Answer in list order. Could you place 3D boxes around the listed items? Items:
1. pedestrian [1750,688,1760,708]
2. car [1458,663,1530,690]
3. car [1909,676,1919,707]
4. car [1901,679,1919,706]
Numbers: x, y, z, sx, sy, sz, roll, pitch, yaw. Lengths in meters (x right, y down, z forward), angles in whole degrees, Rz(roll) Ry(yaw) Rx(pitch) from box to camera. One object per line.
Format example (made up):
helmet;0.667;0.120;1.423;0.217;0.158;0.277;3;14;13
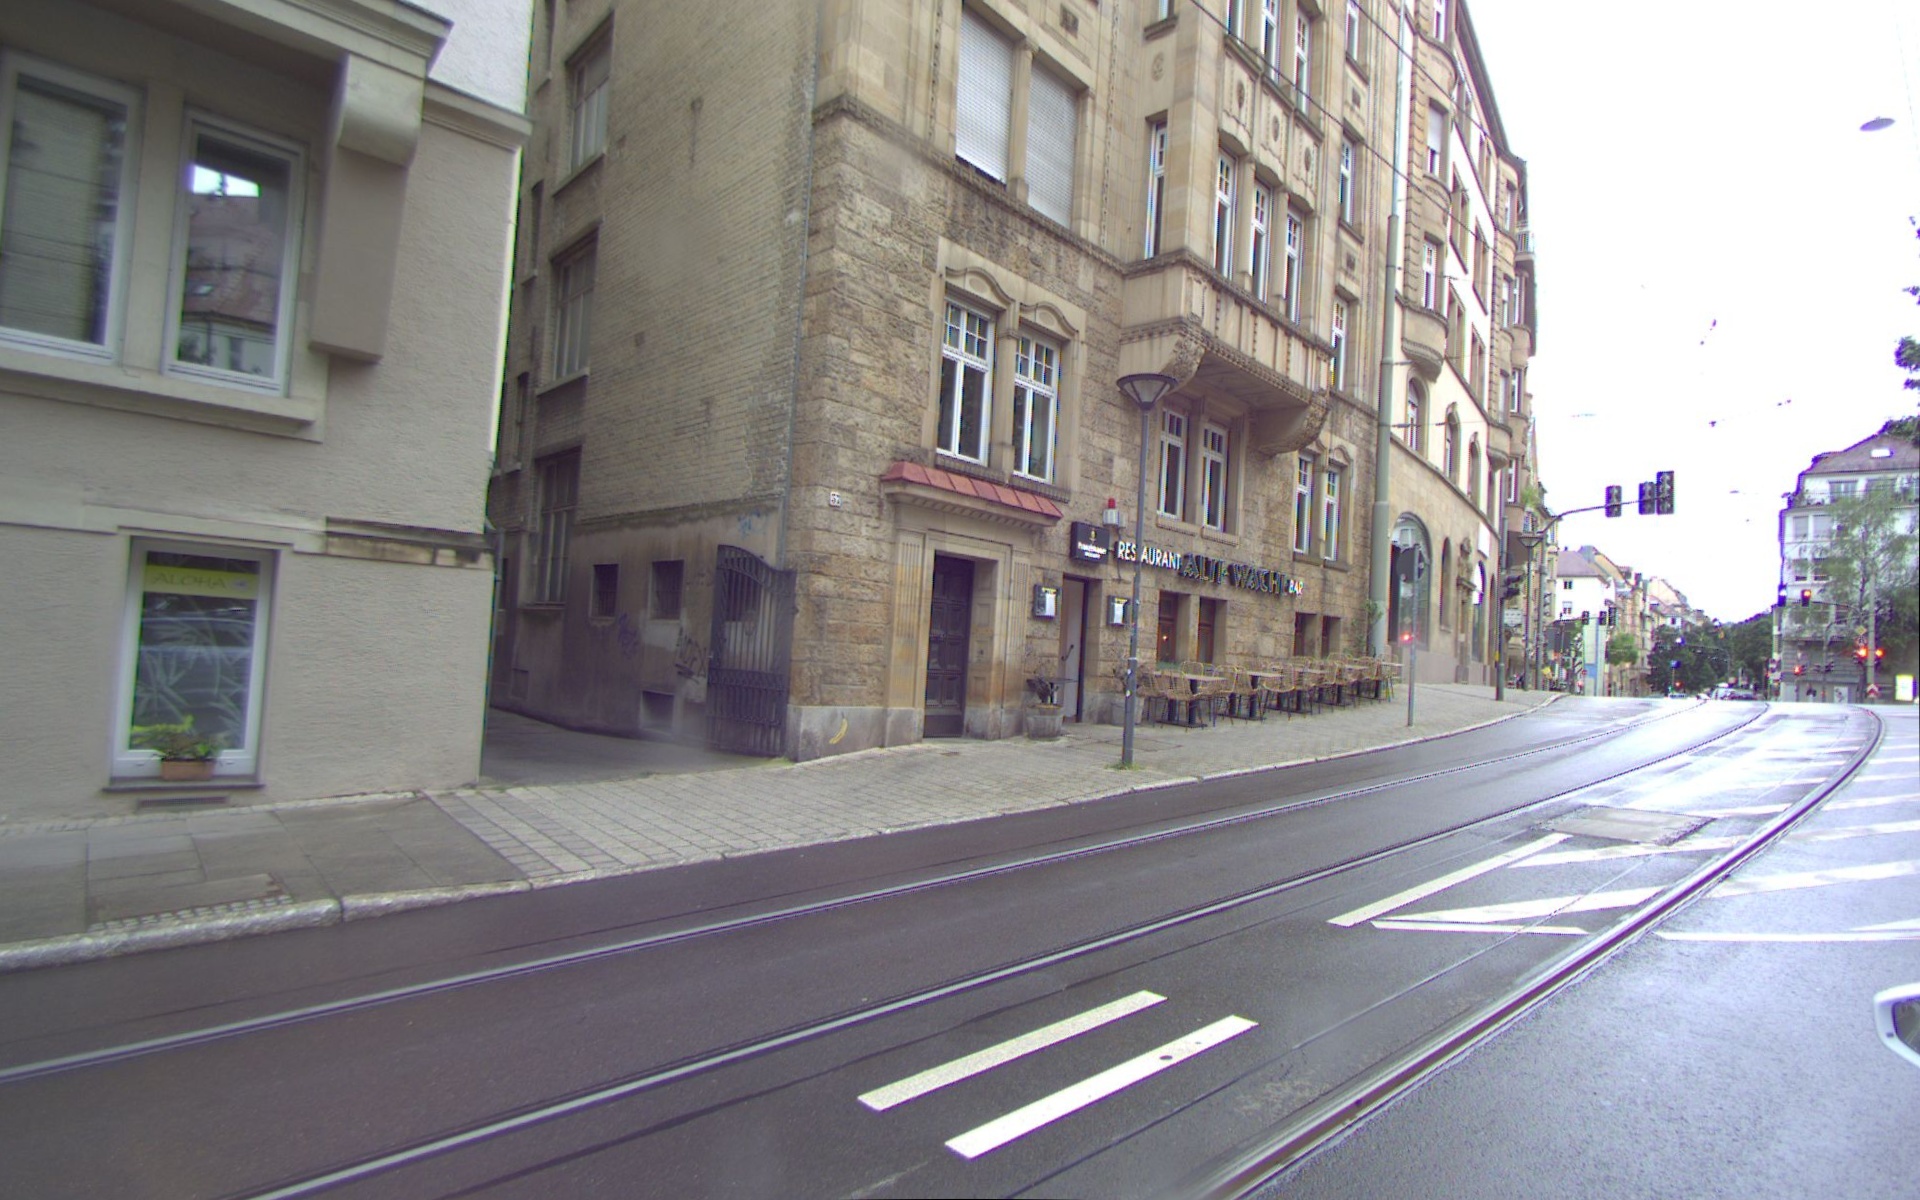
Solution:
pedestrian;70.951;8.764;89.647;0.640;1.683;0.647;1;-1;40
car;33.924;4.860;63.842;3.932;1.530;1.795;0;-2;33
car;50.063;4.620;50.910;3.954;1.530;1.786;2;-4;-31
car;60.763;5.726;62.149;3.930;1.635;1.796;1;-2;-12
